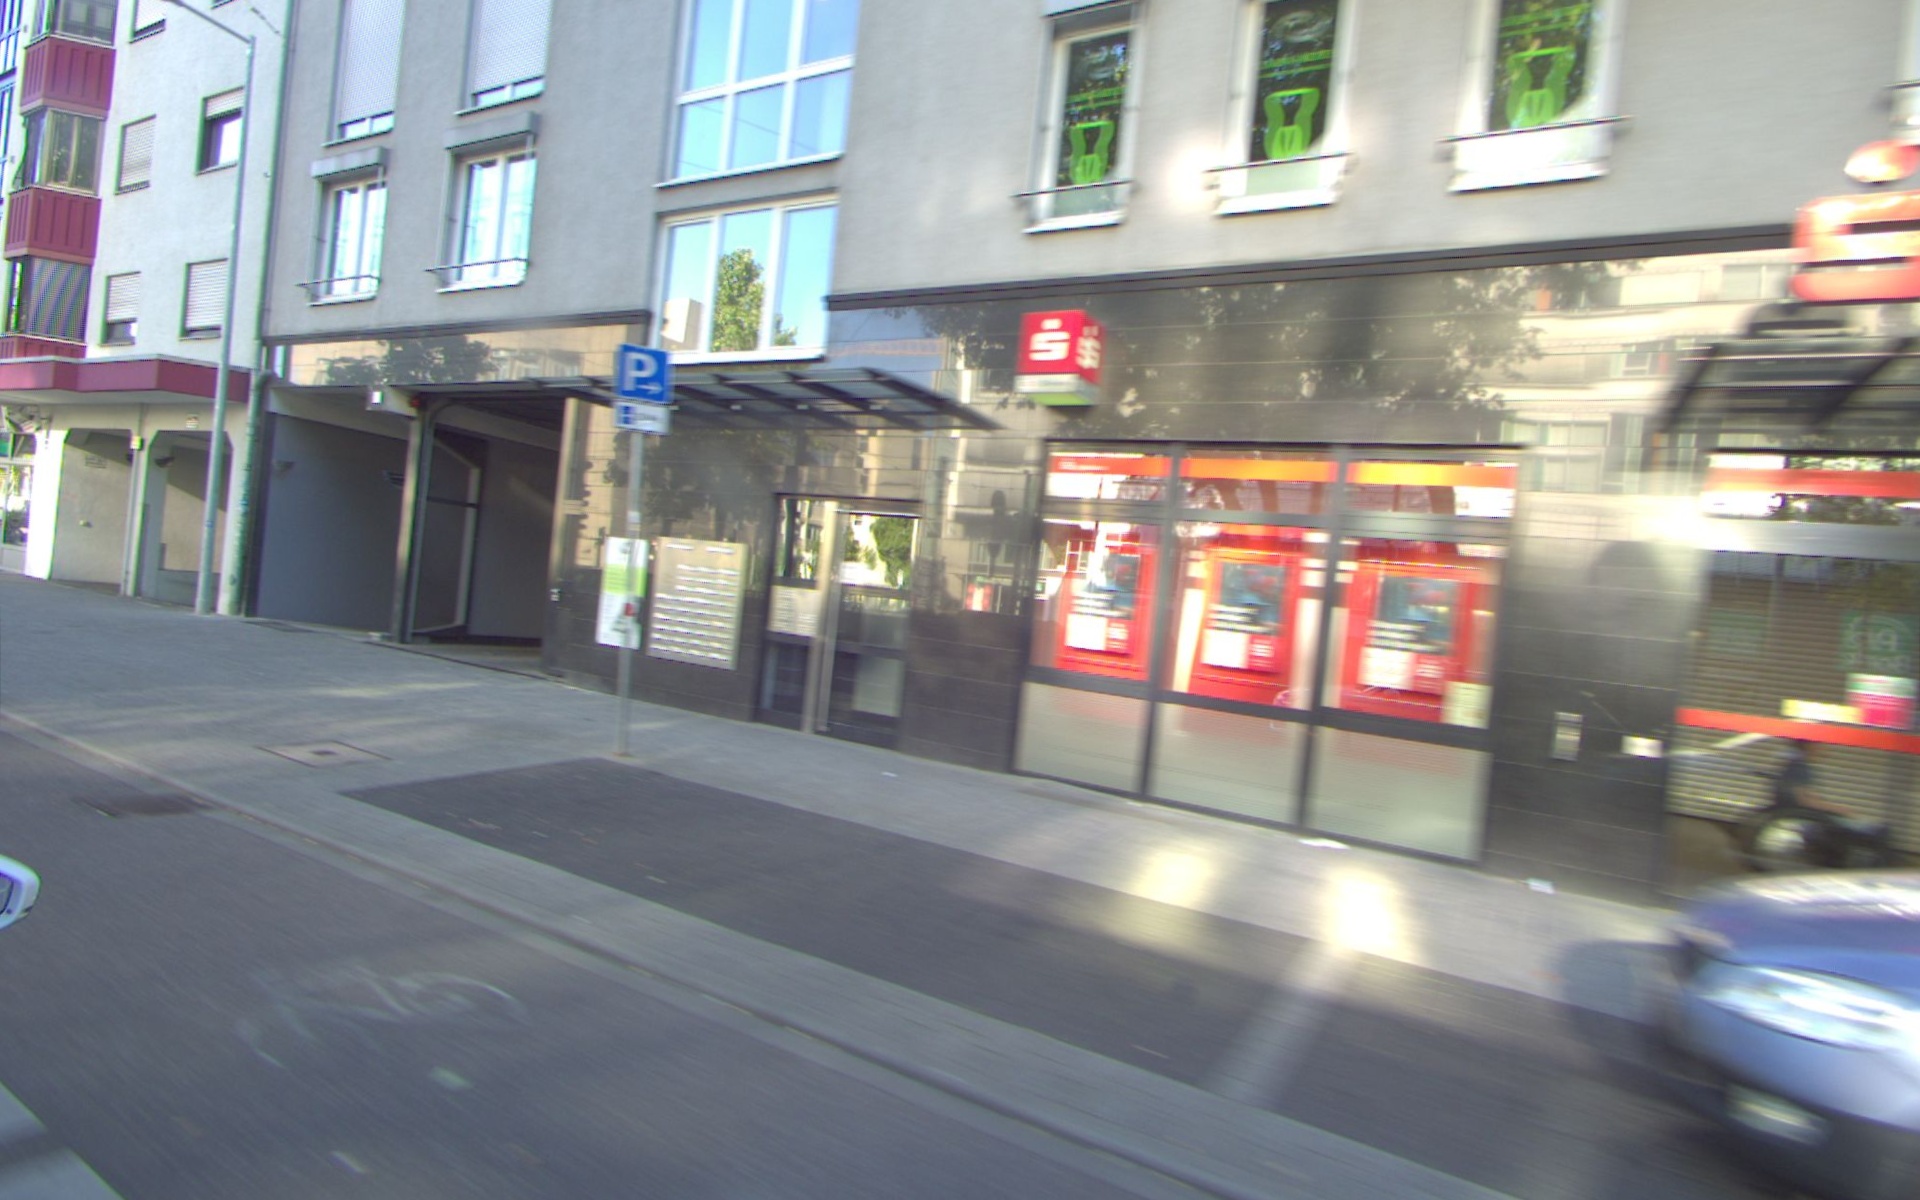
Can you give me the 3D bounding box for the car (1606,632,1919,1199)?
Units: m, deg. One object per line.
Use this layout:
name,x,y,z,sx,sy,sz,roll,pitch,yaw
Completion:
car,4.220,1.127,2.490,4.213,1.644,1.833,6,2,31
